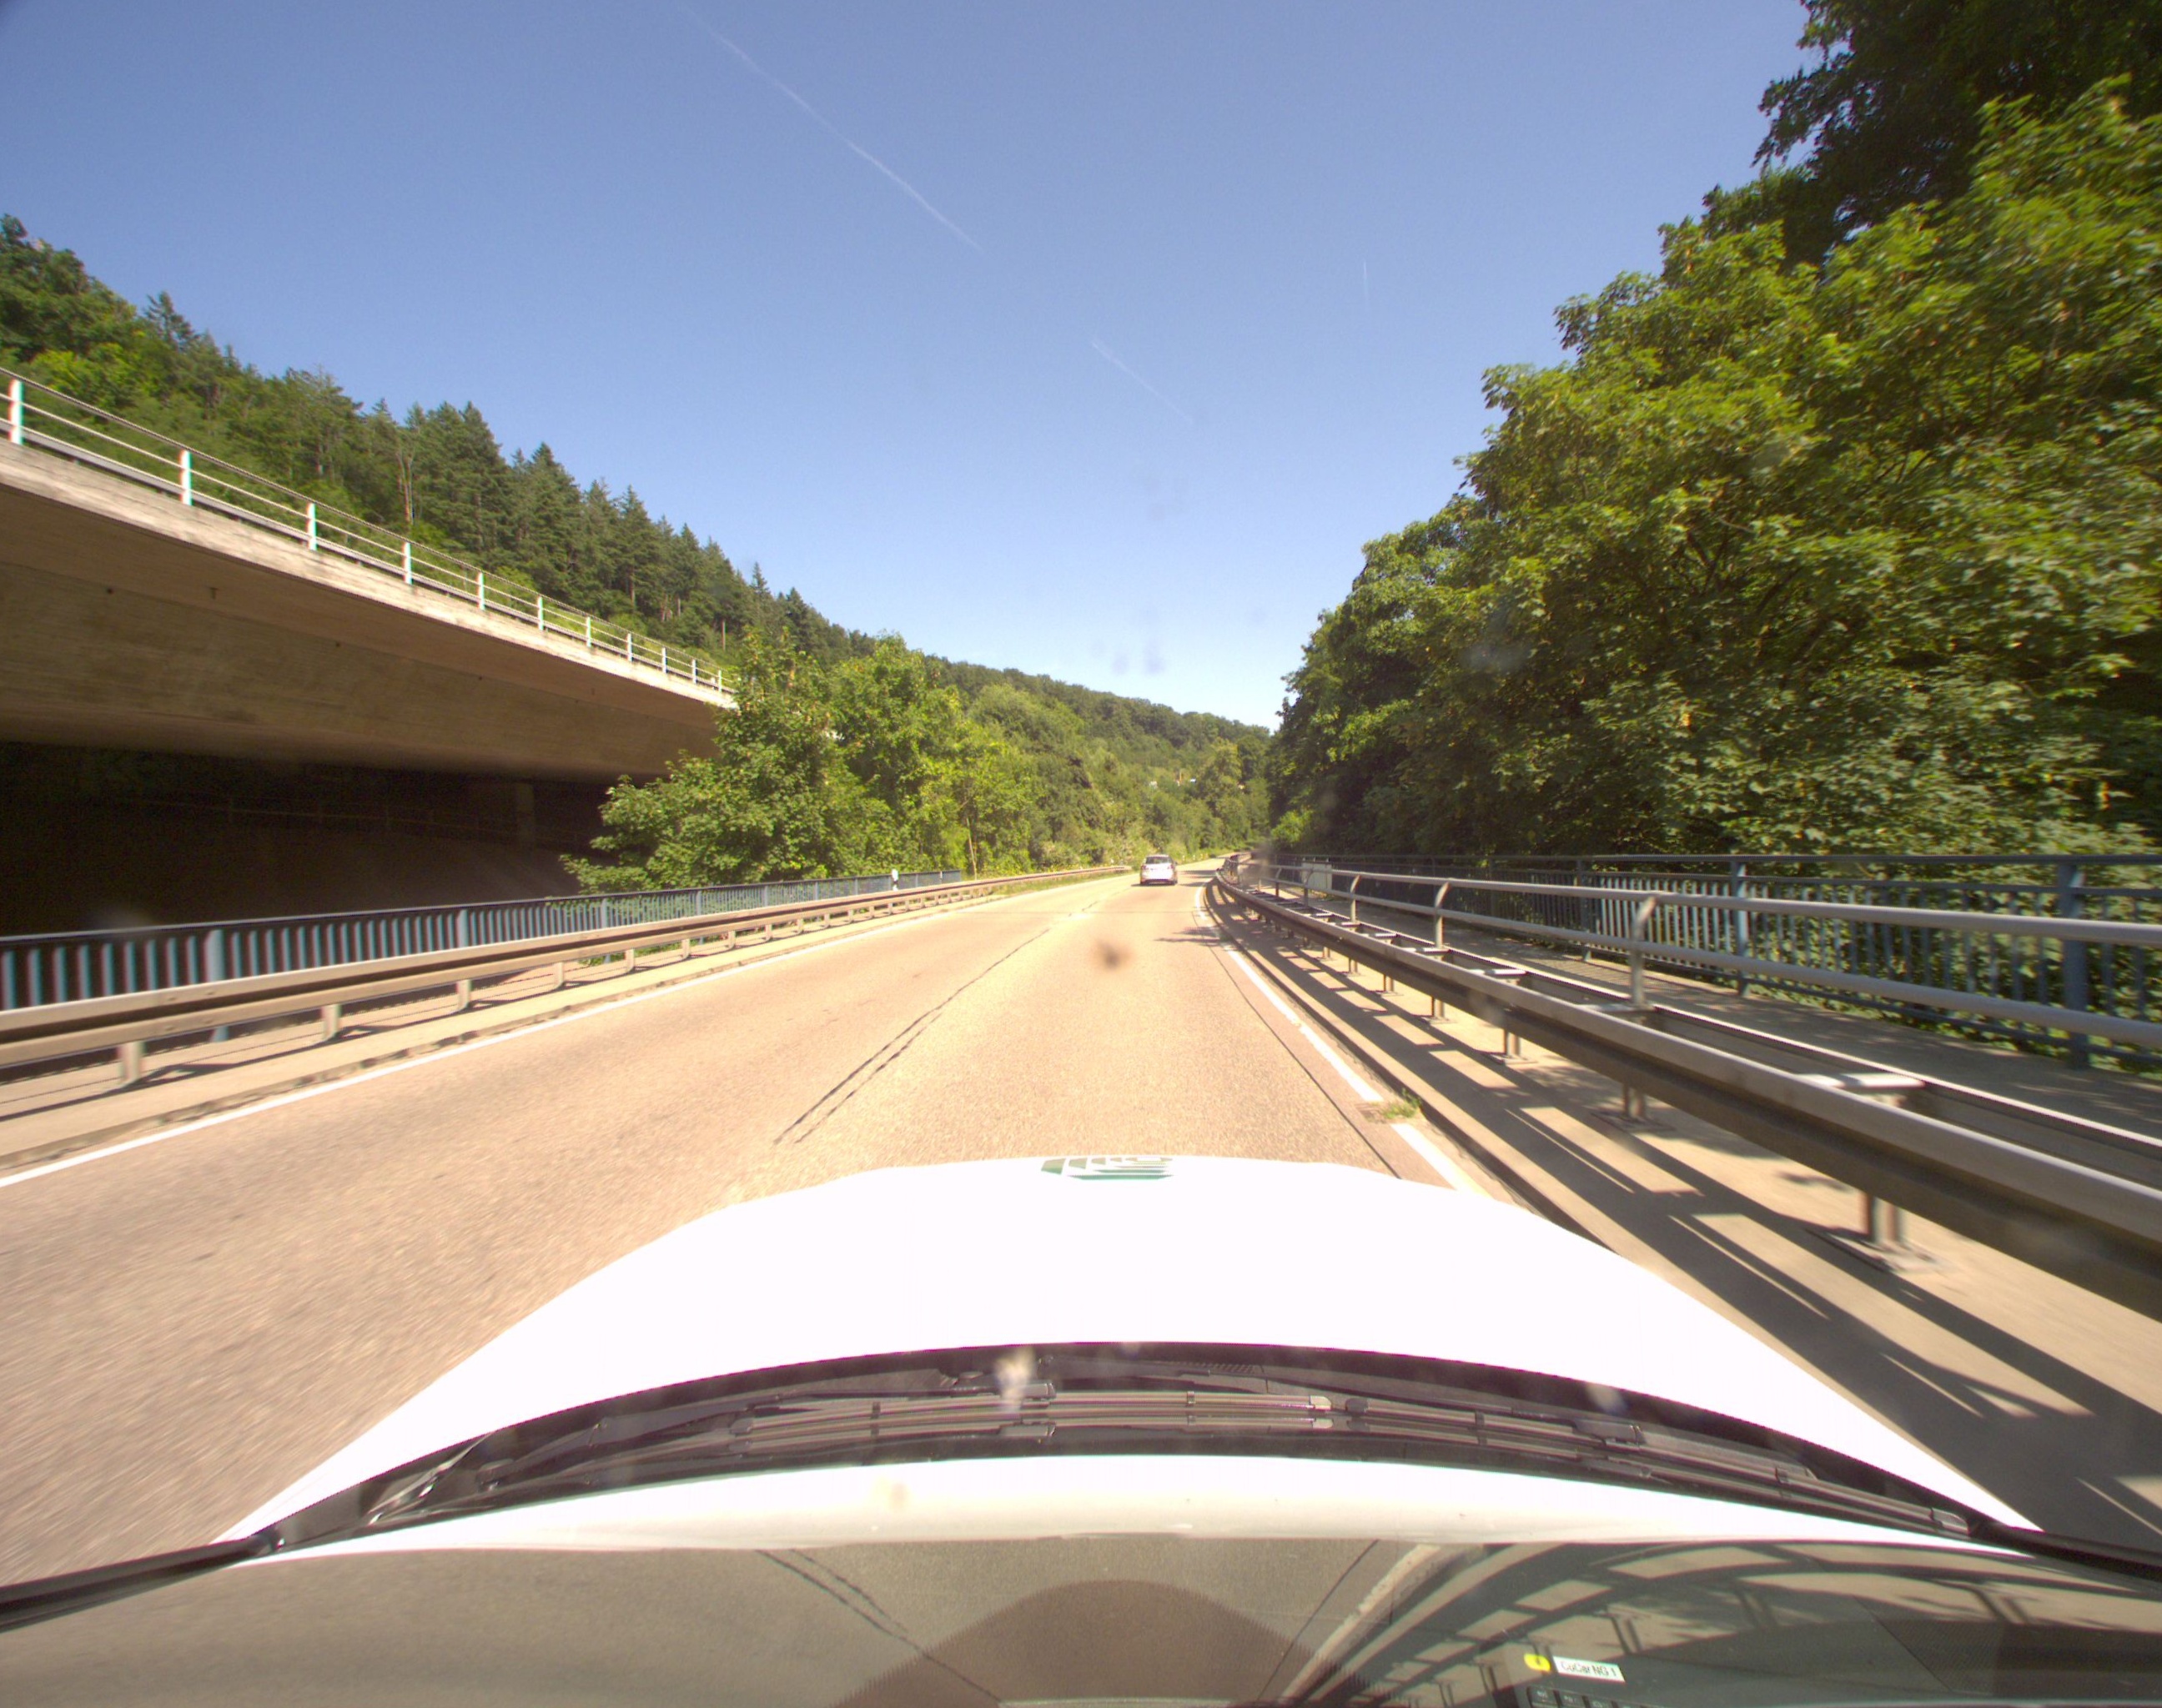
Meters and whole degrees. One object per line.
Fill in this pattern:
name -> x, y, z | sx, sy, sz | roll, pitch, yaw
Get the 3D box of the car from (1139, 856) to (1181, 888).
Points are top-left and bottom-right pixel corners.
car -> 4.076, 0.877, 41.503 | 1.740, 1.520, 4.171 | -1, 0, 10
